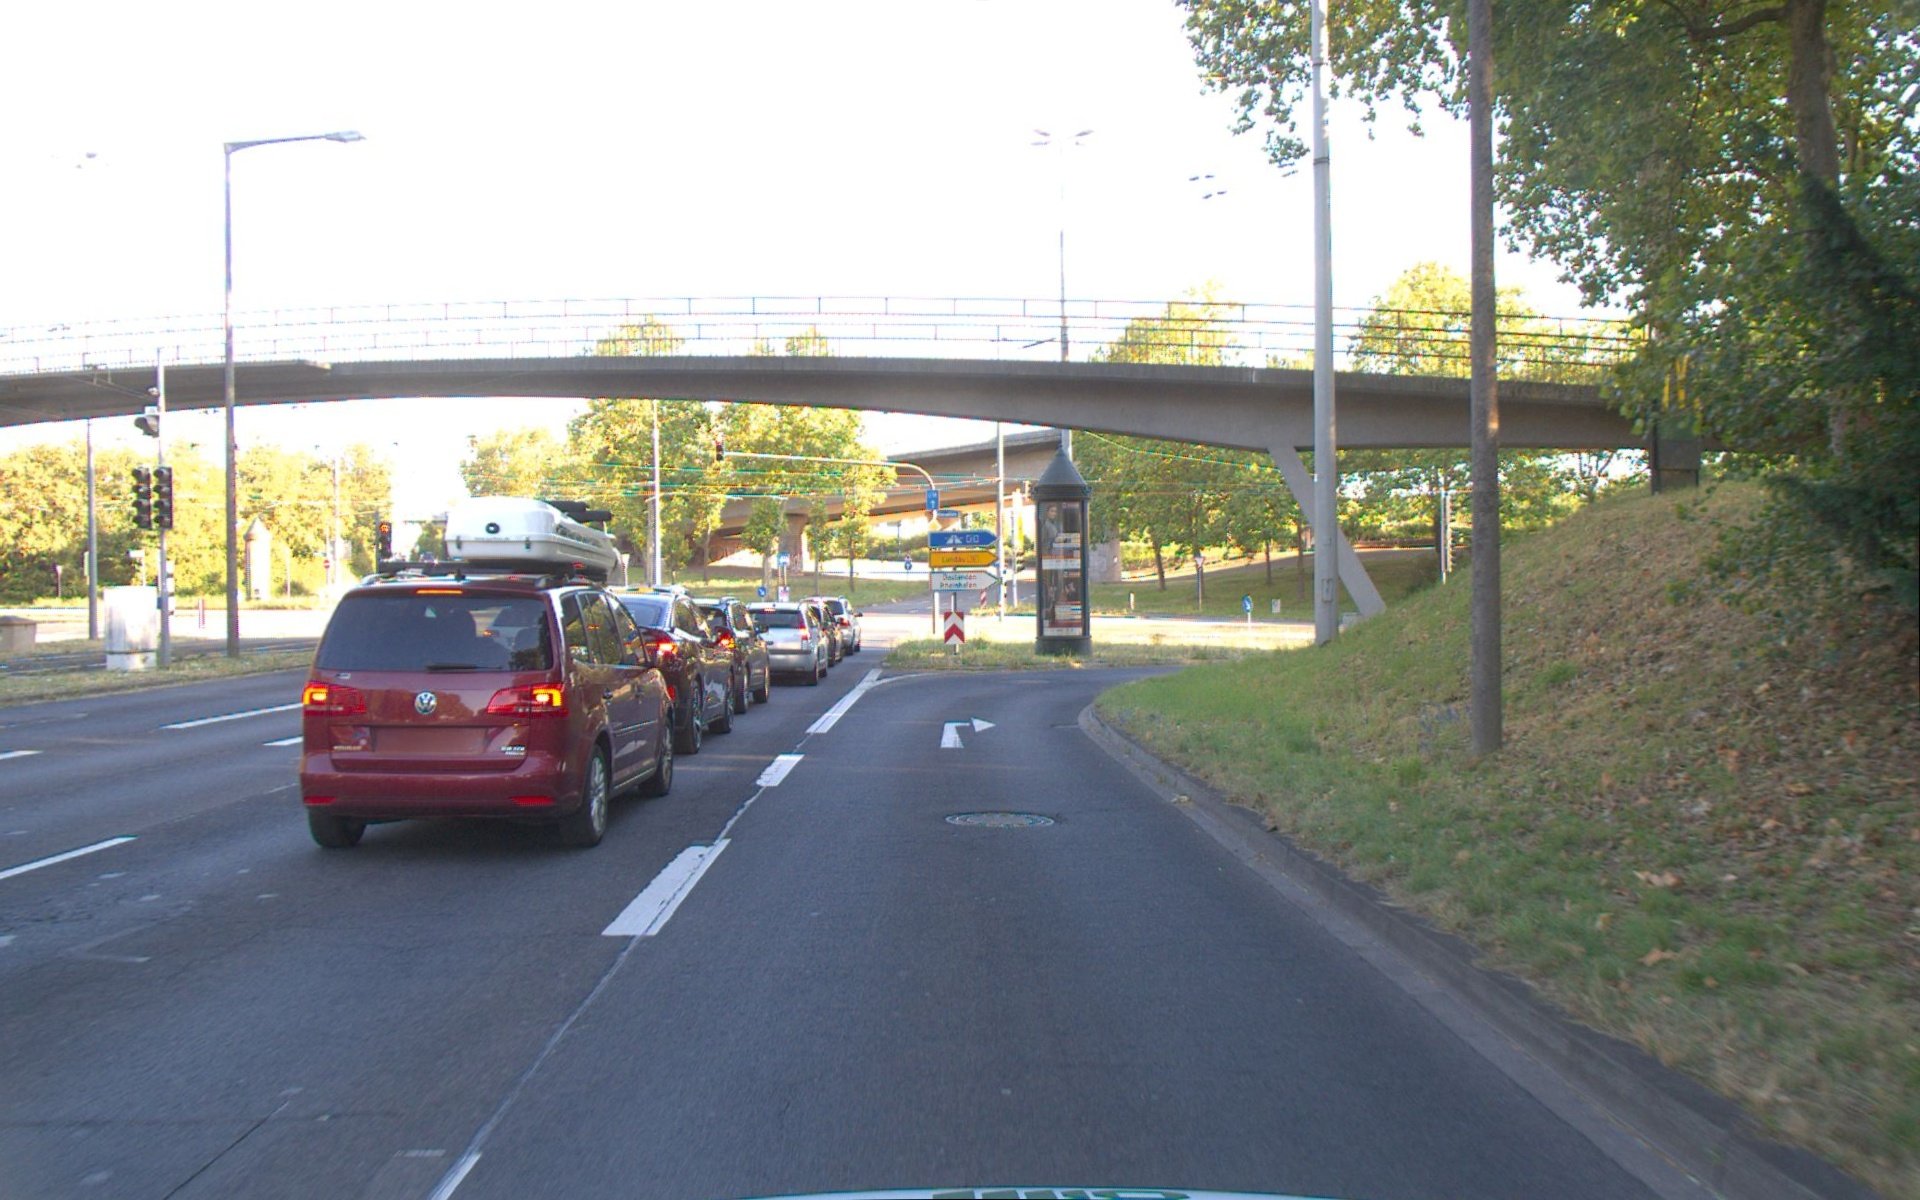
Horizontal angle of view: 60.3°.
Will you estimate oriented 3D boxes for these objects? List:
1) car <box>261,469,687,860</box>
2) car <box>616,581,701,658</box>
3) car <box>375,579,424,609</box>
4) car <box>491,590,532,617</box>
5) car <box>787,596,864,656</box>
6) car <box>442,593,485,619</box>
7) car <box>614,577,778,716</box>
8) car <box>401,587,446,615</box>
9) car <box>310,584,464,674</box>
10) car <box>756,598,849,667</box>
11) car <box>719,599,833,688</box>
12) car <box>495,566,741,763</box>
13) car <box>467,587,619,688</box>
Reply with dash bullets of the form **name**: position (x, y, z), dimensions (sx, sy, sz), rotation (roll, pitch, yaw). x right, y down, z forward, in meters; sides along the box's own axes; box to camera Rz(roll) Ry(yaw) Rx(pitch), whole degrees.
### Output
- **car**: position (-3.049, 0.344, 11.269), dimensions (1.756, 2.142, 3.999), rotation (-2, 0, -2)
- **car**: position (-7.749, 0.470, 42.920), dimensions (1.758, 1.823, 4.820), rotation (-2, 0, -6)
- **car**: position (-35.462, -0.408, 104.763), dimensions (1.841, 1.803, 3.998), rotation (1, 0, -3)
- **car**: position (-30.936, 0.218, 114.260), dimensions (1.841, 1.803, 3.998), rotation (1, 0, -3)
- **car**: position (-3.548, 0.660, 44.159), dimensions (1.756, 1.467, 3.999), rotation (-2, 0, -1)
- **car**: position (-32.225, 0.360, 107.424), dimensions (1.841, 1.603, 3.673), rotation (1, 0, -3)
- **car**: position (-3.701, 0.603, 23.829), dimensions (1.756, 1.780, 3.999), rotation (-2, 0, -1)
- **car**: position (-36.304, 0.041, 112.006), dimensions (1.841, 1.803, 3.998), rotation (1, 0, -3)
- **car**: position (-11.030, 0.519, 32.117), dimensions (1.629, 1.592, 3.999), rotation (-2, 0, -1)
- **car**: position (-3.540, 0.690, 37.889), dimensions (1.756, 1.407, 4.475), rotation (-2, 0, -1)
- **car**: position (-3.432, 0.773, 31.447), dimensions (1.756, 1.507, 3.999), rotation (-2, 0, -1)
- **car**: position (-3.461, 0.585, 17.514), dimensions (1.756, 1.780, 4.240), rotation (-2, 0, -1)
- **car**: position (-7.203, 0.599, 28.966), dimensions (1.629, 1.592, 4.189), rotation (-2, 0, -1)
